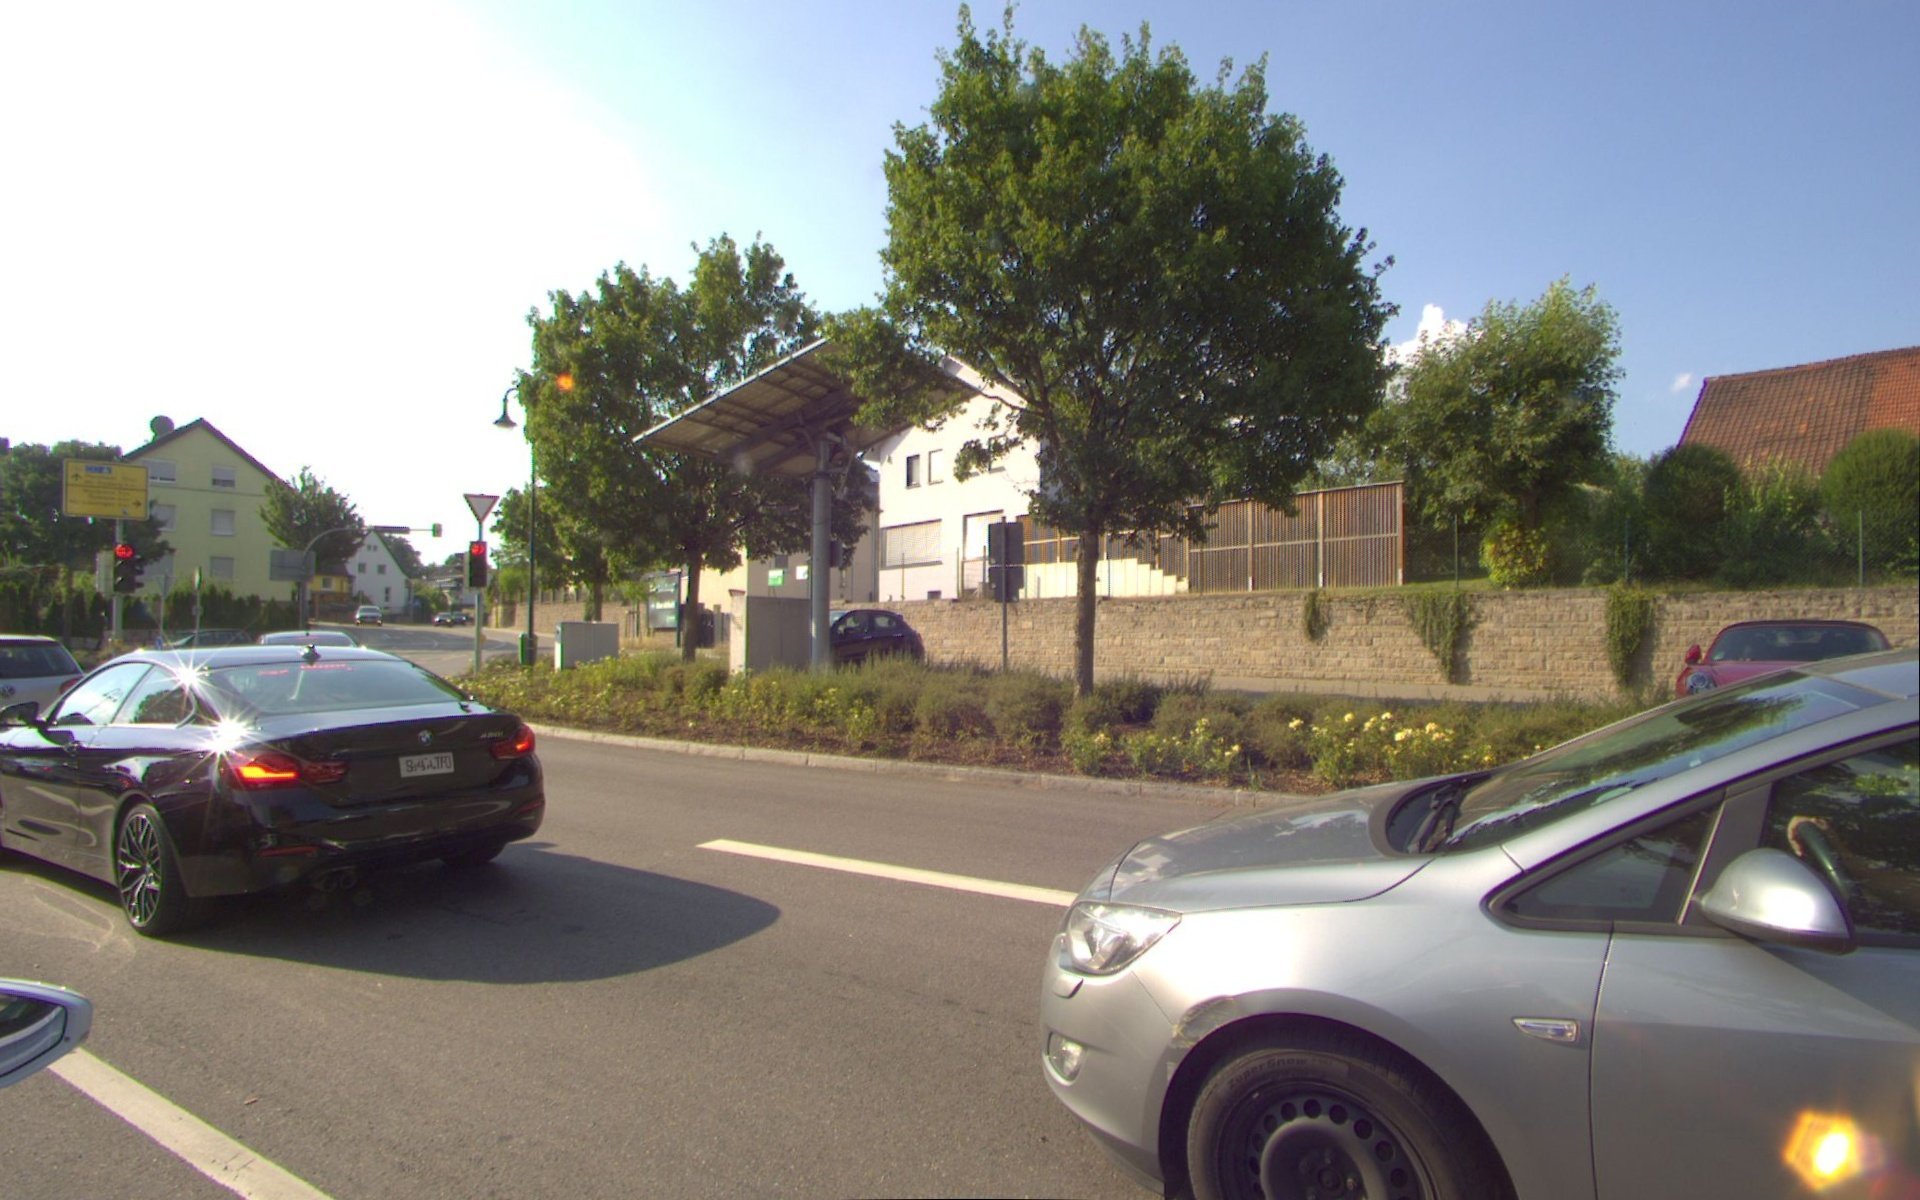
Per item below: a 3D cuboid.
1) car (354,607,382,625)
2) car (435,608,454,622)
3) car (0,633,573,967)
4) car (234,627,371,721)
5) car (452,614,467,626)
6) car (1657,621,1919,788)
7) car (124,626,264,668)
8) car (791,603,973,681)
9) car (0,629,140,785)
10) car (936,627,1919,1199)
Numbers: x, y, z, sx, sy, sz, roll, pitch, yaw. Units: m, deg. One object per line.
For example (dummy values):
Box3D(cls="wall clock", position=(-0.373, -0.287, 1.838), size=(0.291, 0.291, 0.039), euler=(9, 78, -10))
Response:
Box3D(cls="car", position=(-43.646, 1.174, 73.836), size=(1.692, 1.260, 3.979), euler=(1, -1, -30))
Box3D(cls="car", position=(-62.946, 1.860, 122.320), size=(1.753, 1.600, 3.989), euler=(1, -2, -22))
Box3D(cls="car", position=(-4.508, 0.914, 6.227), size=(4.287, 1.406, 1.812), euler=(-1, -2, 34))
Box3D(cls="car", position=(-11.805, 1.217, 17.846), size=(1.667, 1.454, 4.554), euler=(1, -2, -38))
Box3D(cls="car", position=(-71.897, 2.862, 143.979), size=(1.753, 1.600, 3.987), euler=(1, -2, -24))
Box3D(cls="car", position=(8.257, 0.872, 9.699), size=(1.835, 1.288, 3.964), euler=(-1, -2, 45))
Box3D(cls="car", position=(-29.596, 1.792, 38.840), size=(1.759, 1.526, 4.065), euler=(0, -2, 17))
Box3D(cls="car", position=(-1.733, 0.956, 23.098), size=(1.835, 1.628, 3.964), euler=(-1, -2, 45))
Box3D(cls="car", position=(-10.729, 1.047, 10.765), size=(4.287, 1.465, 1.812), euler=(-1, -2, 34))
Box3D(cls="car", position=(2.131, 0.792, 2.199), size=(4.107, 1.460, 1.741), euler=(-1, -2, 32))
